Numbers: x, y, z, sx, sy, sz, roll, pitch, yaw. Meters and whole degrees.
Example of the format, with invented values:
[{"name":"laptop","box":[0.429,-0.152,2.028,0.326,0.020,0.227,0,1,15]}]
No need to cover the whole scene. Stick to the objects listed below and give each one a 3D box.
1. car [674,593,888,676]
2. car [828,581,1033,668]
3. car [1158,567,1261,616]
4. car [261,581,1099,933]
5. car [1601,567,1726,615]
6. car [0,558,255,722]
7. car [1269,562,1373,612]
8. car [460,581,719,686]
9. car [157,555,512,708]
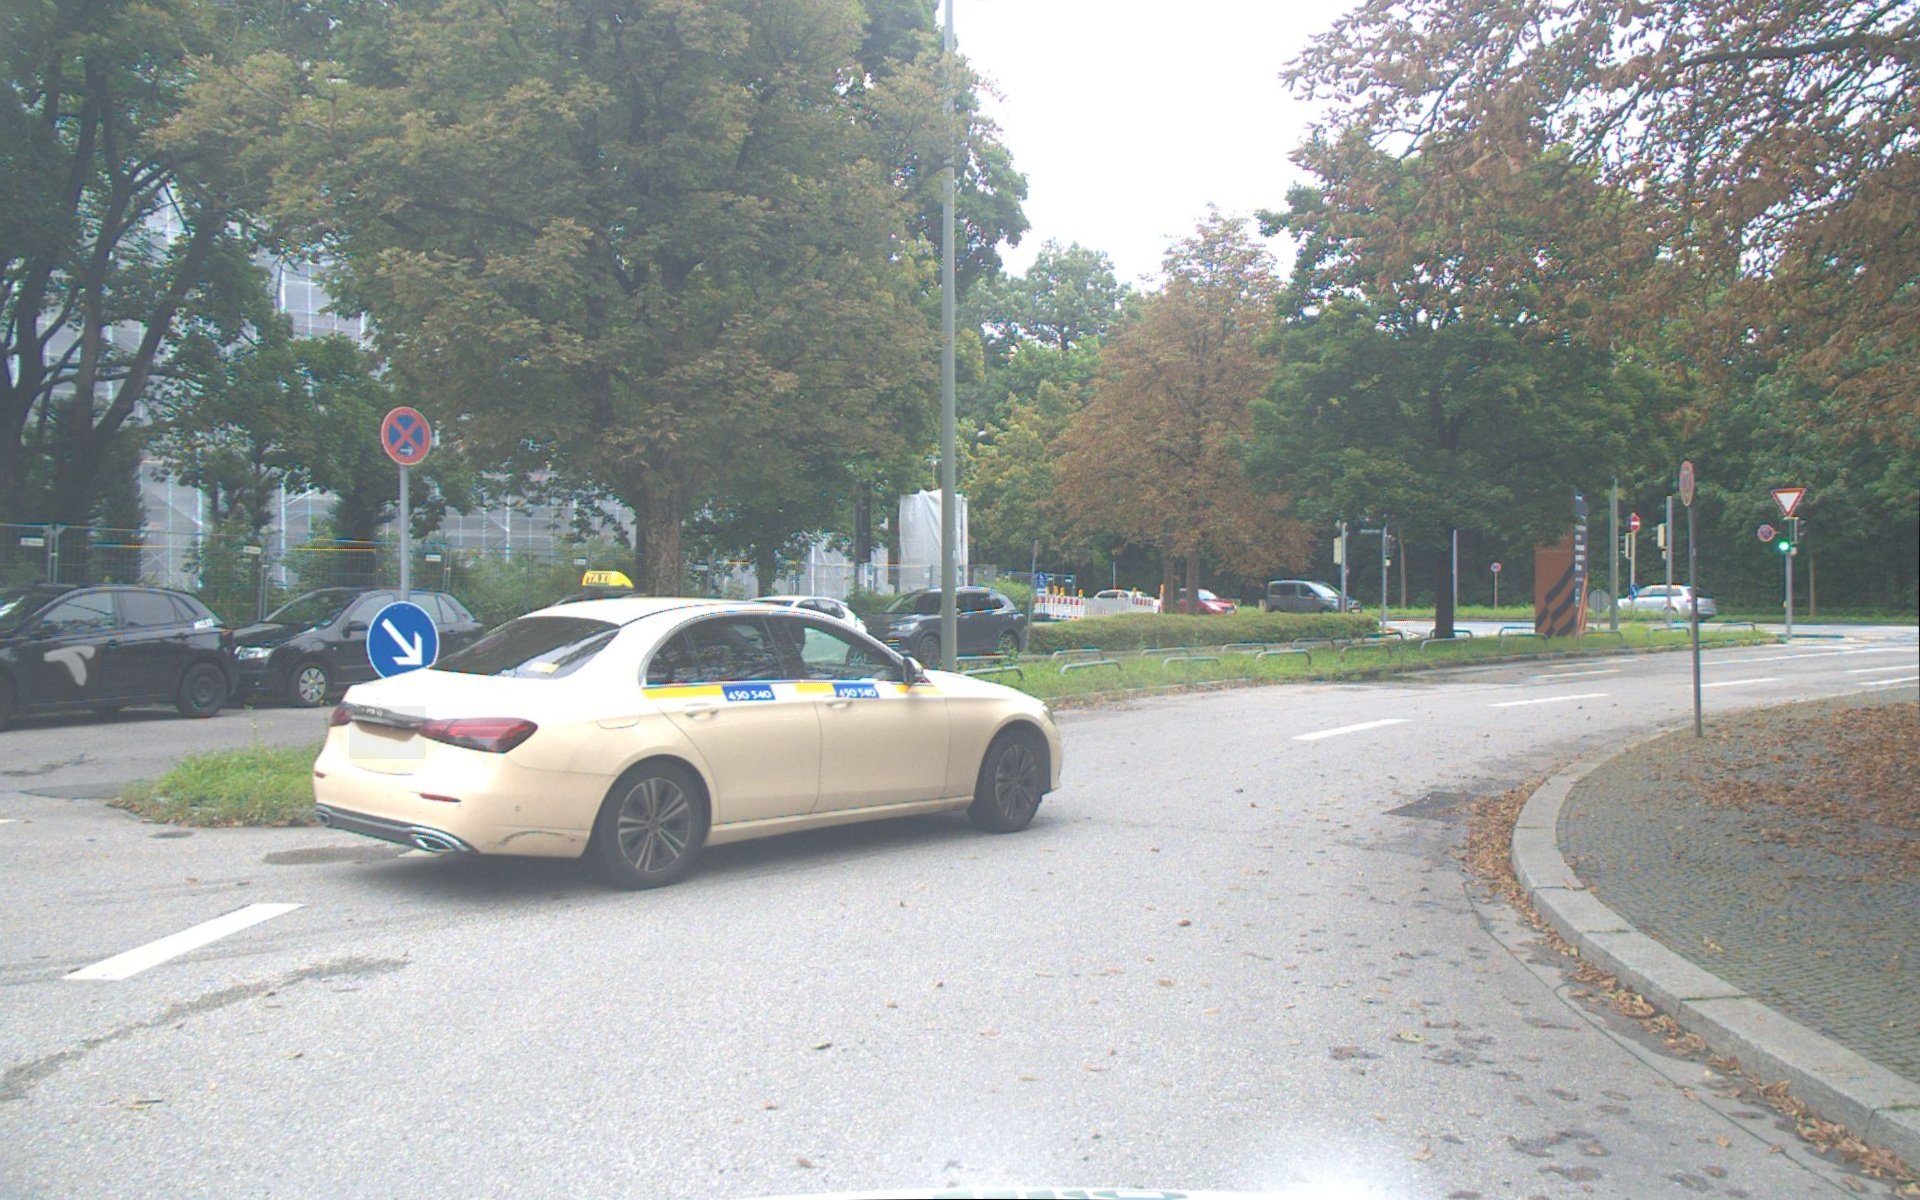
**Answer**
[{"name":"car","box":[-3.167,0.590,30.094,1.762,1.408,4.210,0,0,30]},{"name":"car","box":[-0.523,0.532,33.694,1.855,1.634,4.376,-1,-2,38]},{"name":"car","box":[10.751,-0.379,71.523,1.984,2.049,4.091,0,0,-43]},{"name":"car","box":[-1.368,0.695,9.823,1.860,1.572,4.823,0,0,42]},{"name":"car","box":[27.335,-0.344,64.378,1.978,1.780,4.072,0,0,-36]},{"name":"car","box":[-9.645,0.361,17.109,1.955,1.568,3.995,1,1,27]},{"name":"car","box":[15.336,-0.551,70.448,1.984,2.049,3.936,0,0,-43]},{"name":"car","box":[-5.630,0.488,25.624,1.799,1.486,4.001,0,0,27]},{"name":"car","box":[-7.921,0.358,21.318,1.955,1.735,3.995,2,1,27]}]
